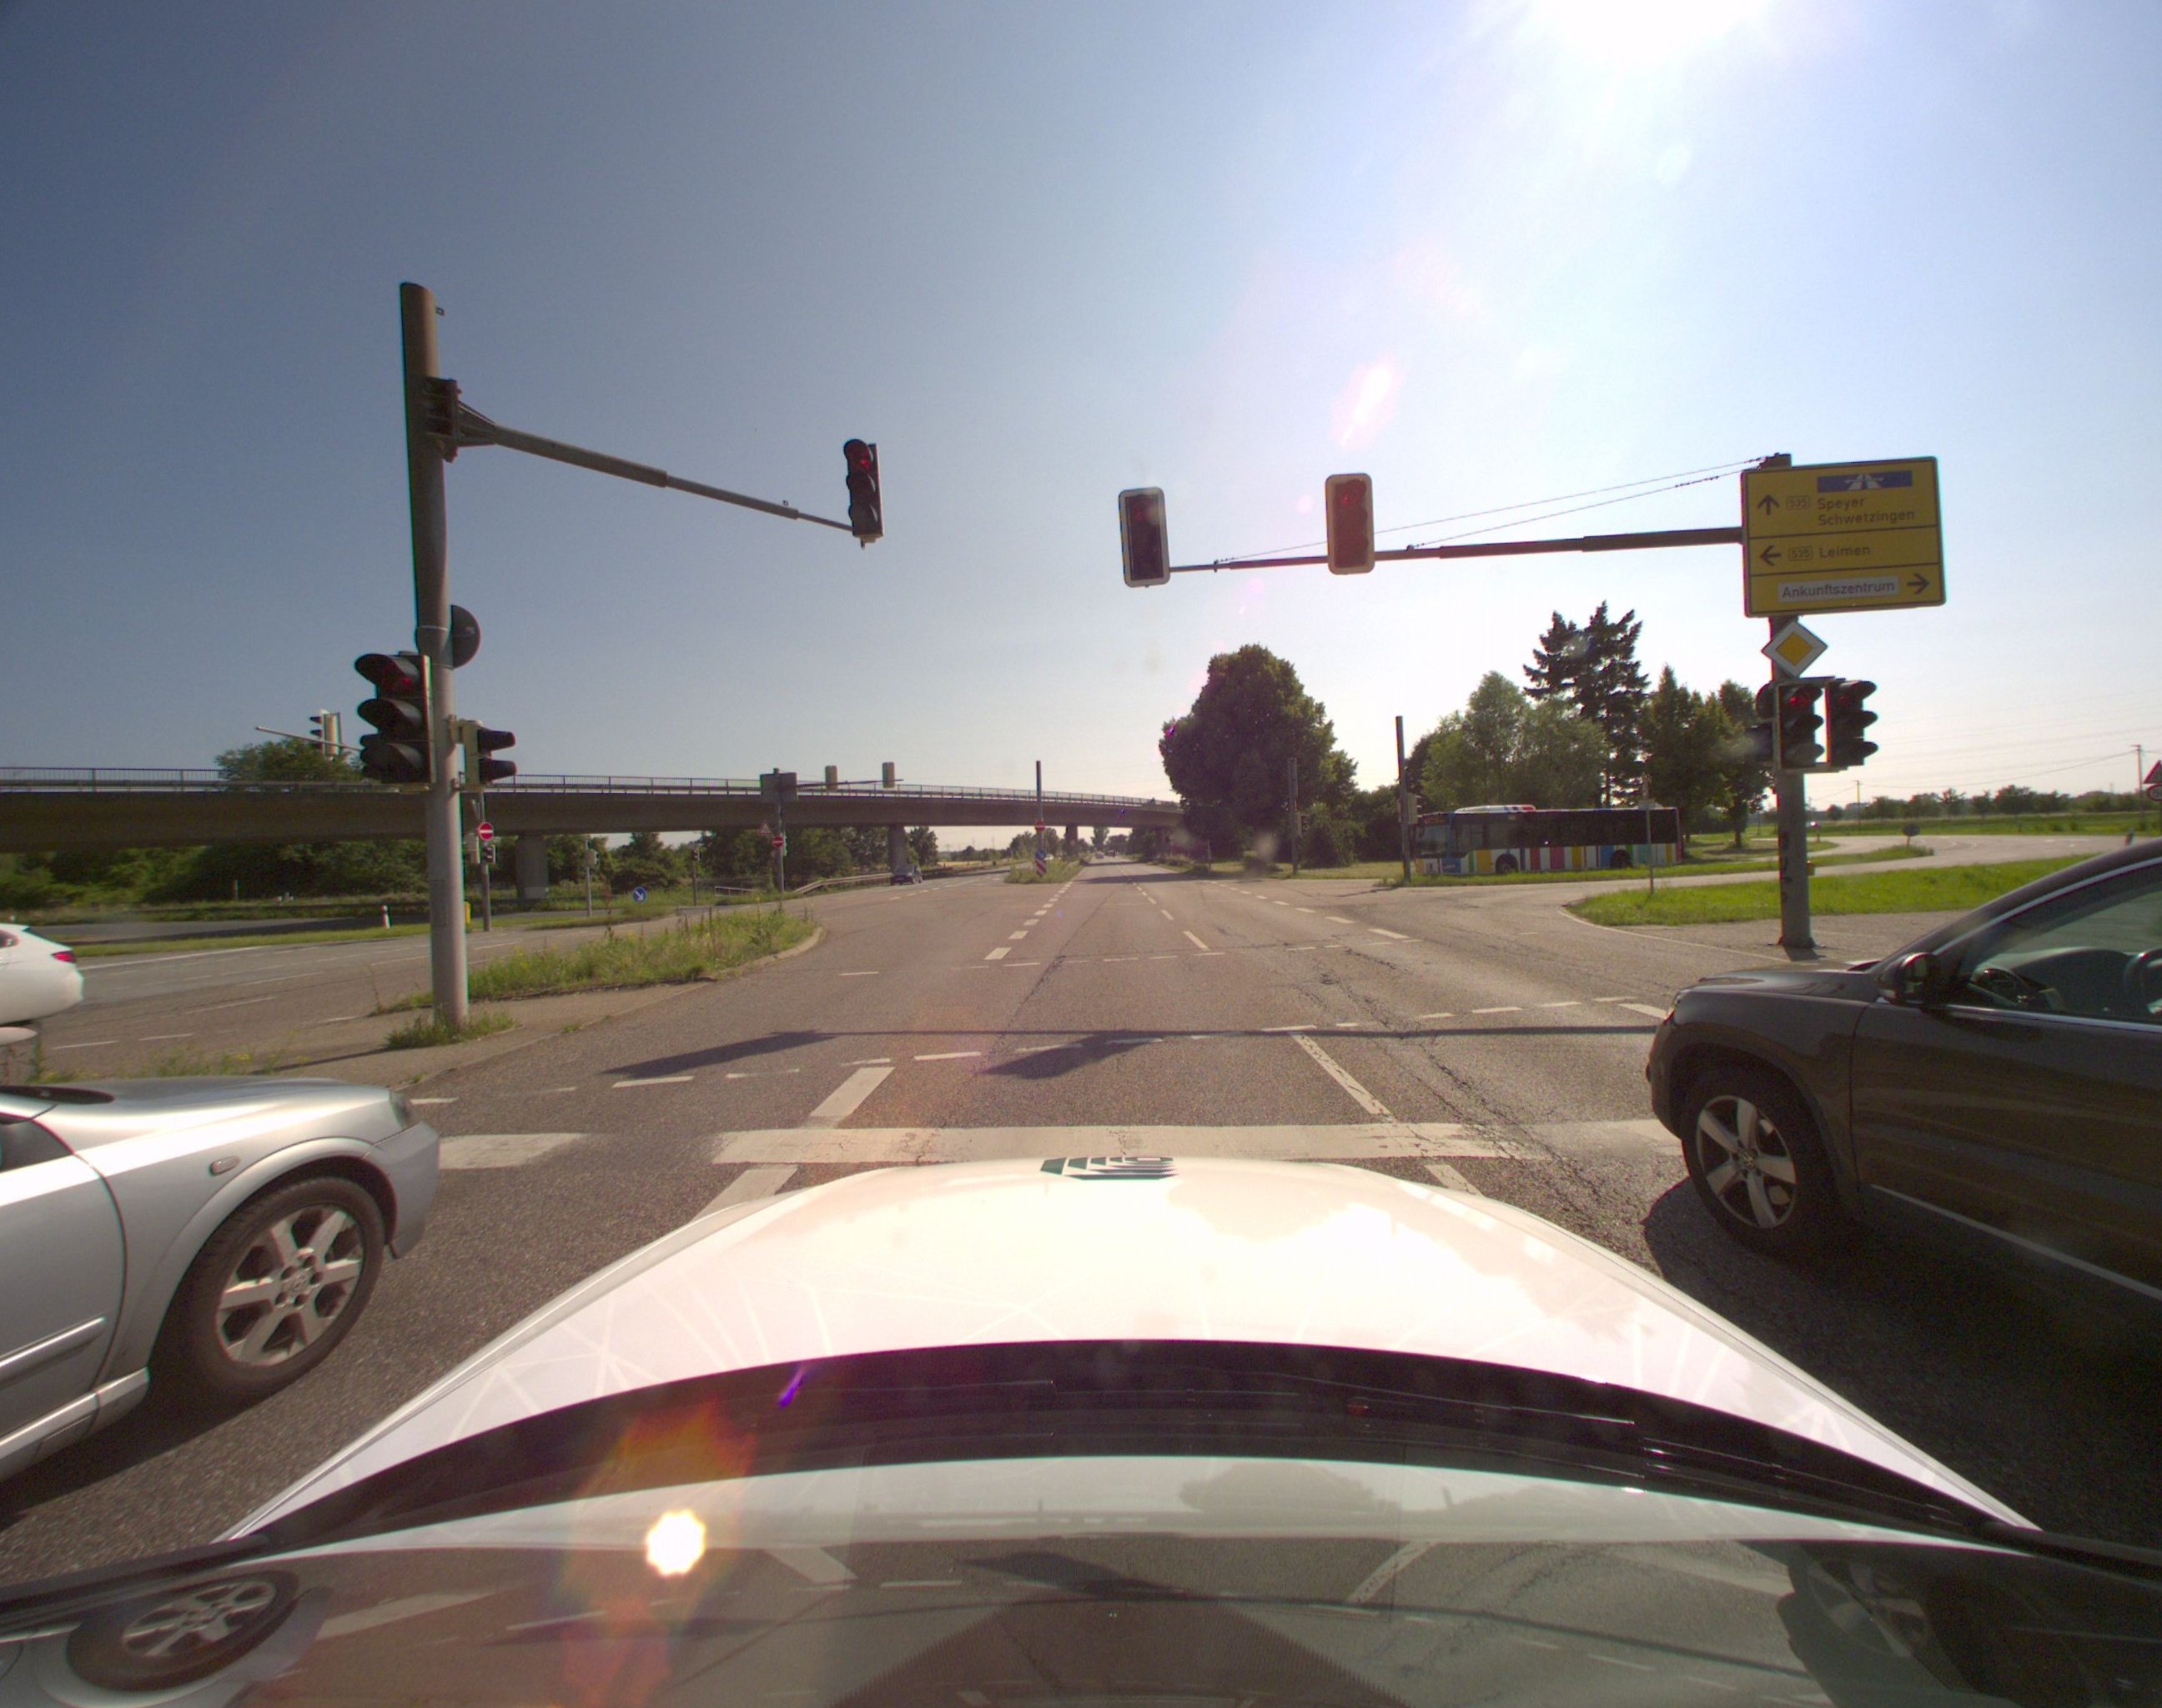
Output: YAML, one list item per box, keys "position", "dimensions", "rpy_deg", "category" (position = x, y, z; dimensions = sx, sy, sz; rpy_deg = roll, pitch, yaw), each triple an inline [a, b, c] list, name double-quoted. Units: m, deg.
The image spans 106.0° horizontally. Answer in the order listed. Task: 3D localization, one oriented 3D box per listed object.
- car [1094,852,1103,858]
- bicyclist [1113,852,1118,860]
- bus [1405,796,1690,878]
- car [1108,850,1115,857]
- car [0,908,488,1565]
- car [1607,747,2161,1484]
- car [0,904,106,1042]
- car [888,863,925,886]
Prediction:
- position: [4.076, 0.207, 185.315]
  dimensions: [1.843, 1.461, 4.003]
  rpy_deg: [-1, 0, 3]
  category: "car"
- position: [8.852, 0.455, 209.271]
  dimensions: [1.003, 1.886, 1.327]
  rpy_deg: [-3, 0, 1]
  category: "bicyclist"
- position: [20.260, -0.774, 35.399]
  dimensions: [11.954, 2.877, 2.928]
  rpy_deg: [-3, 0, -14]
  category: "bus"
- position: [8.695, -0.151, 232.990]
  dimensions: [1.866, 1.640, 4.003]
  rpy_deg: [-2, 0, 3]
  category: "car"
- position: [-3.239, 0.921, 1.126]
  dimensions: [1.667, 1.335, 4.100]
  rpy_deg: [-3, 0, 2]
  category: "car"
- position: [3.294, 0.580, 1.720]
  dimensions: [1.749, 1.655, 4.147]
  rpy_deg: [-1, 0, 1]
  category: "car"
- position: [-13.336, 1.468, 8.210]
  dimensions: [1.876, 1.515, 4.148]
  rpy_deg: [-5, 0, 1]
  category: "car"
- position: [-12.489, 1.417, 58.371]
  dimensions: [1.608, 1.442, 3.777]
  rpy_deg: [-5, 0, 2]
  category: "car"
